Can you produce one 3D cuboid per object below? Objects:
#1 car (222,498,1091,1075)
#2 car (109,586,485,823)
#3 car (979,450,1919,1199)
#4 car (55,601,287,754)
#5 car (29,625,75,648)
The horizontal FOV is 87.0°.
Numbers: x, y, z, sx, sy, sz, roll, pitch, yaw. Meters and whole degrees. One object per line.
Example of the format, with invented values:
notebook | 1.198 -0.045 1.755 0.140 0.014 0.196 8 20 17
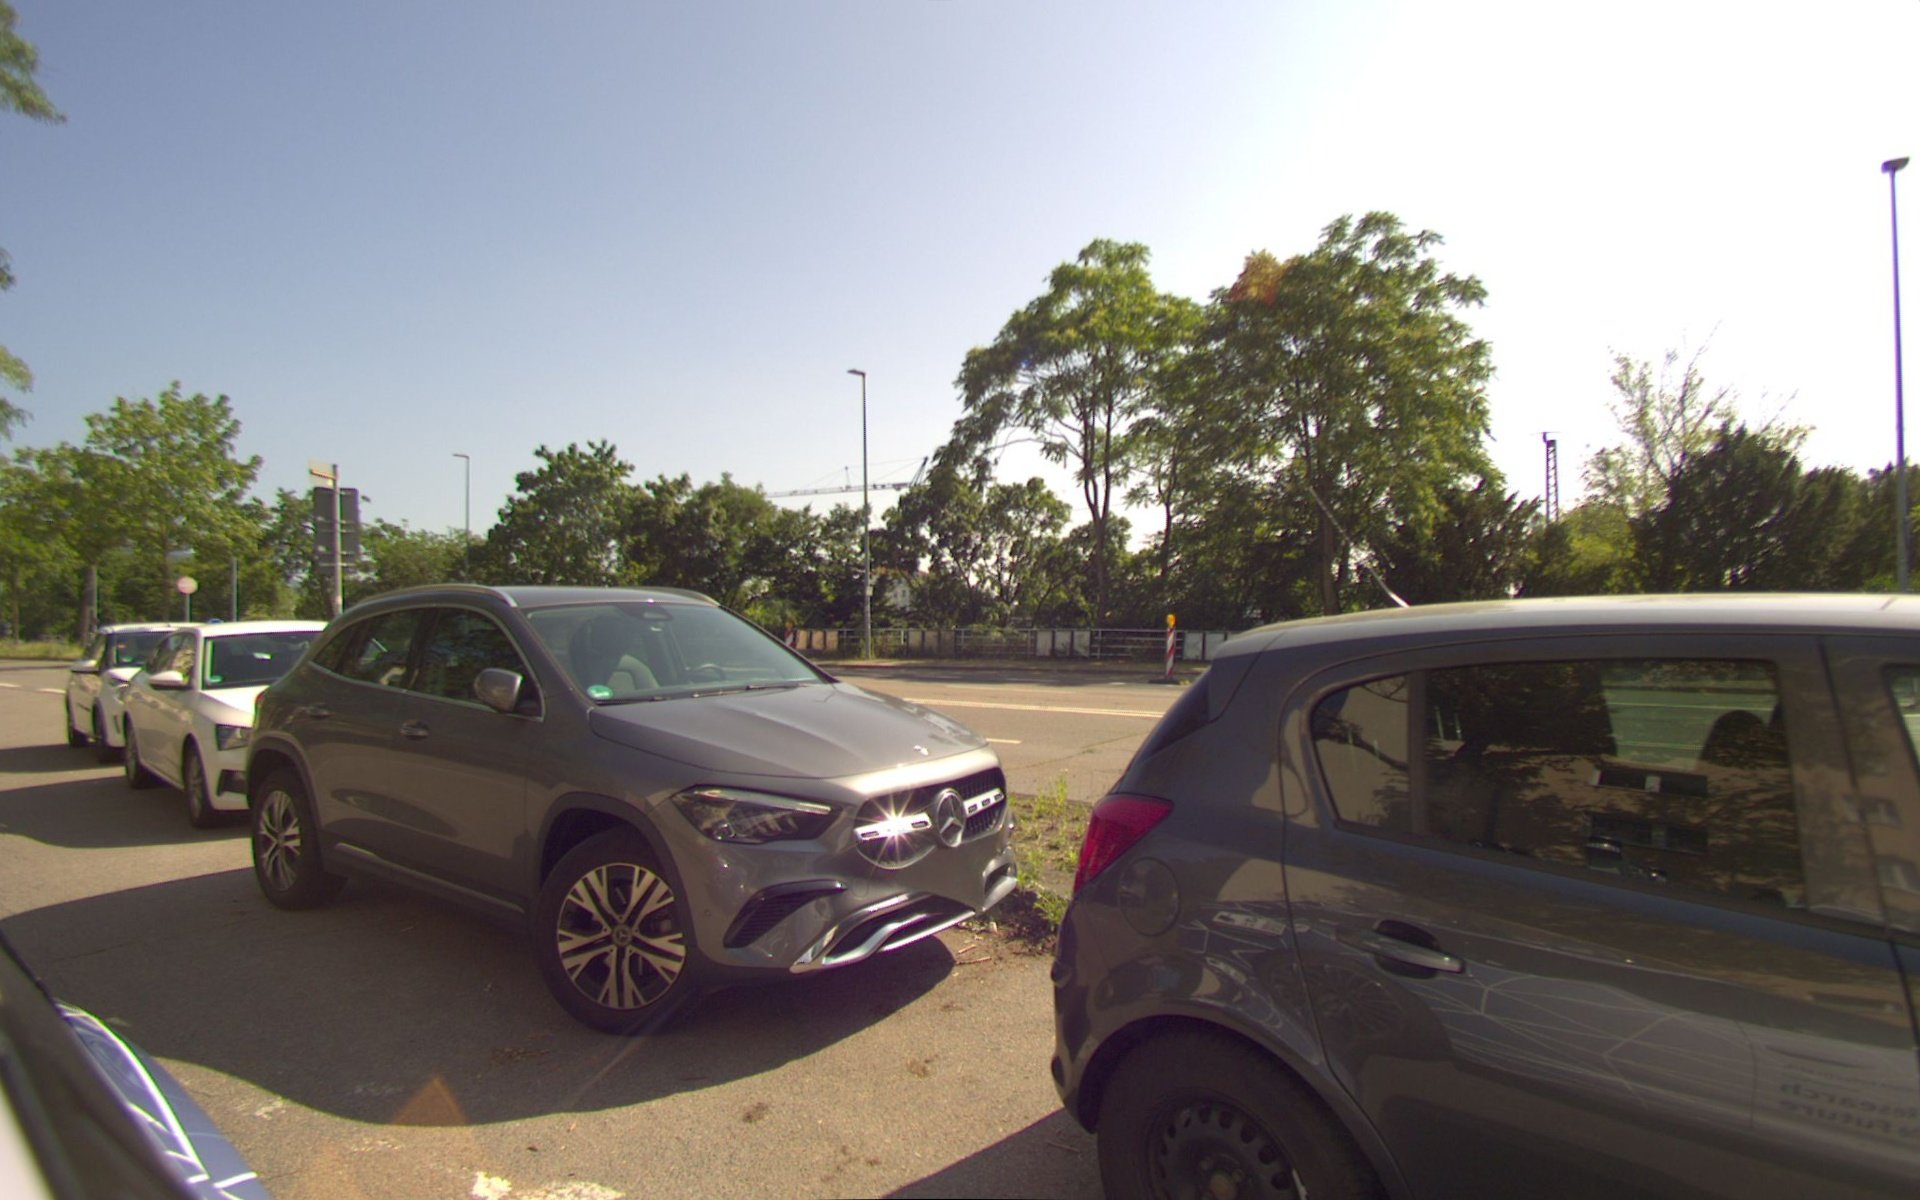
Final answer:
car | -1.657 0.582 4.760 4.178 1.591 1.756 -2 -2 36
car | -5.742 0.722 8.547 4.131 1.517 1.702 -2 -2 43
car | 2.034 0.533 1.627 3.876 1.486 1.646 -2 0 43
car | -9.410 0.834 11.987 3.461 1.517 1.602 -2 -1 43
car | -73.209 2.935 81.554 4.722 1.747 1.975 -2 -1 38
